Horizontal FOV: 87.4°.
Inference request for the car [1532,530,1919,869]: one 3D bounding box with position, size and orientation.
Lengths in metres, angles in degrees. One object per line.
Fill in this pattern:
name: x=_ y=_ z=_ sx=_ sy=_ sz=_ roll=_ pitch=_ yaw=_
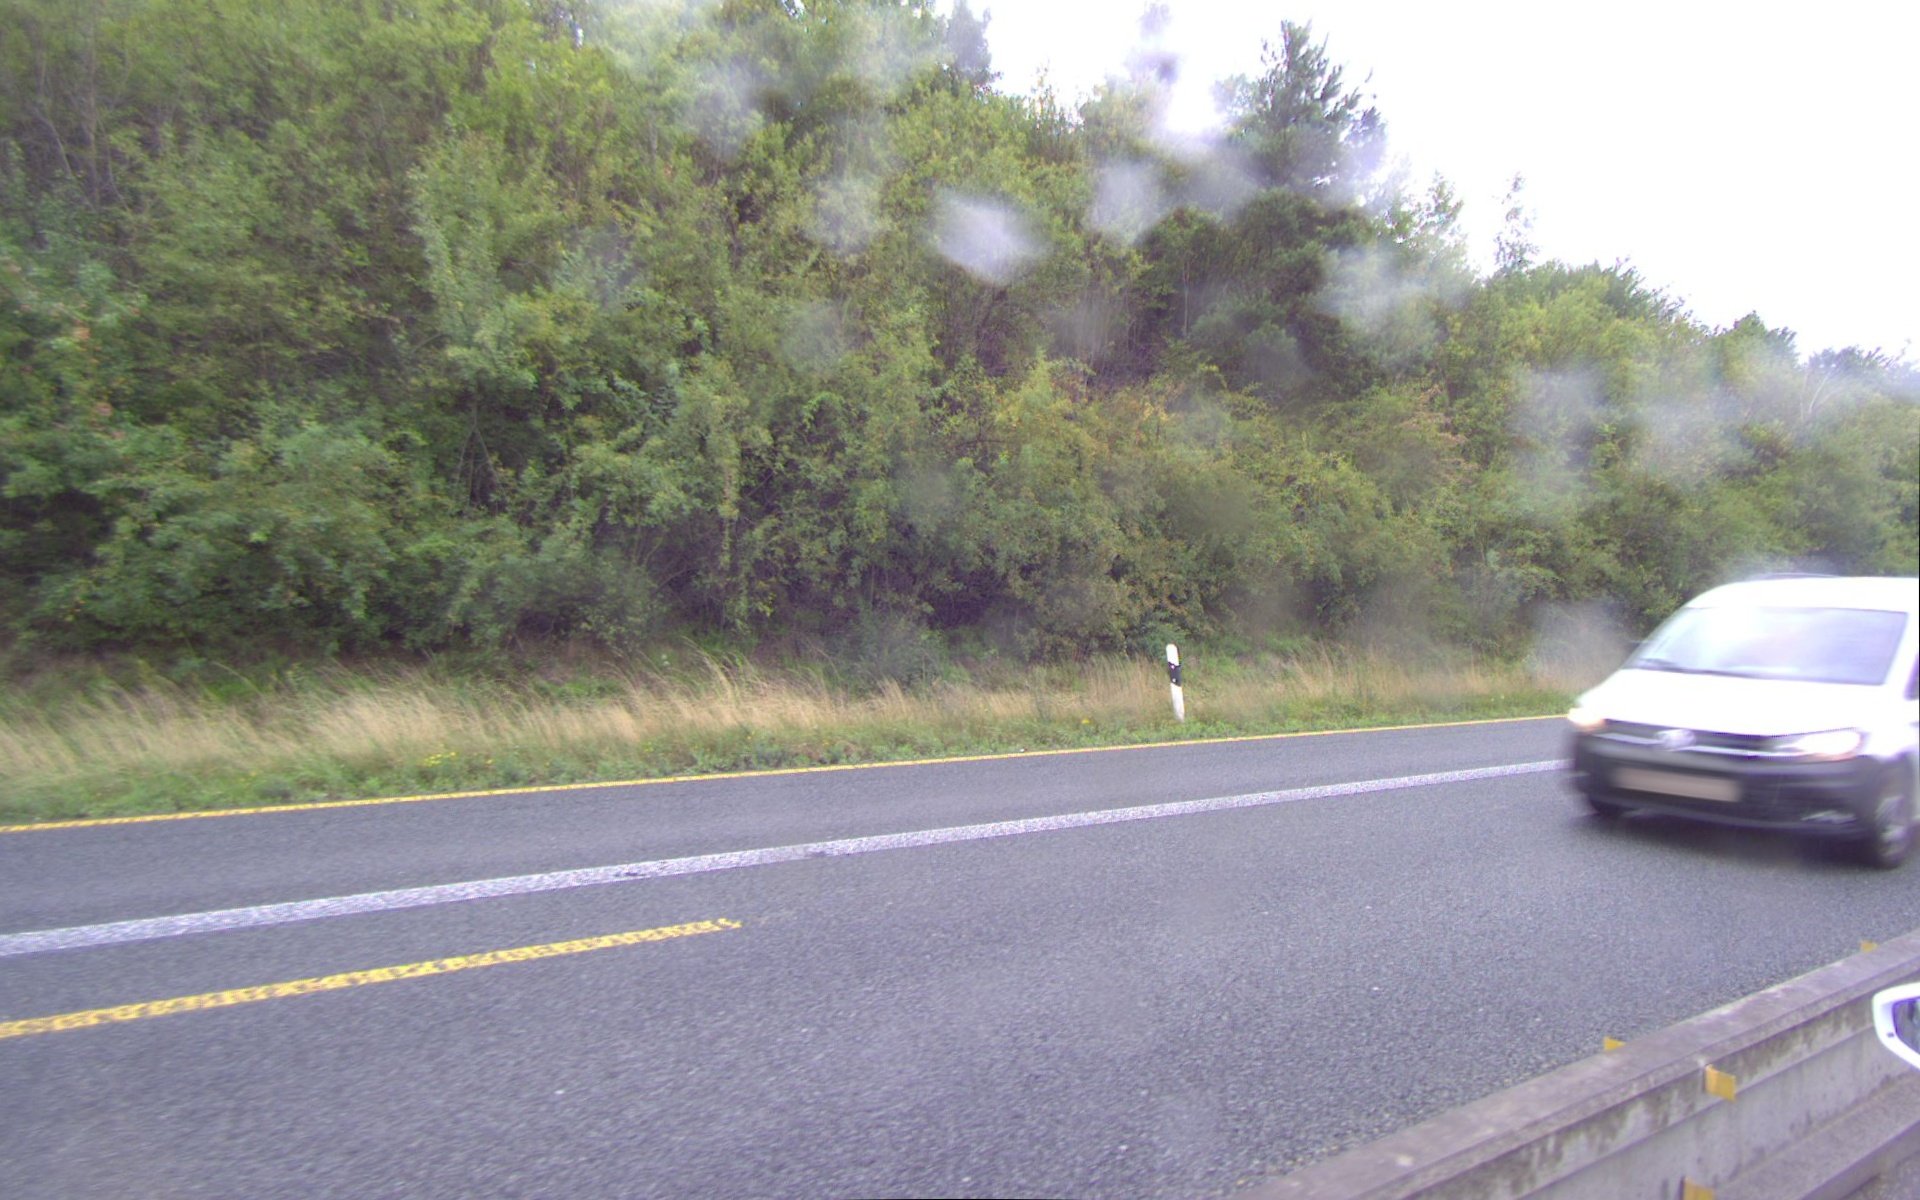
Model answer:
car: x=6.427 y=0.591 z=7.453 sx=4.583 sy=1.848 sz=1.800 roll=2 pitch=0 yaw=-32
